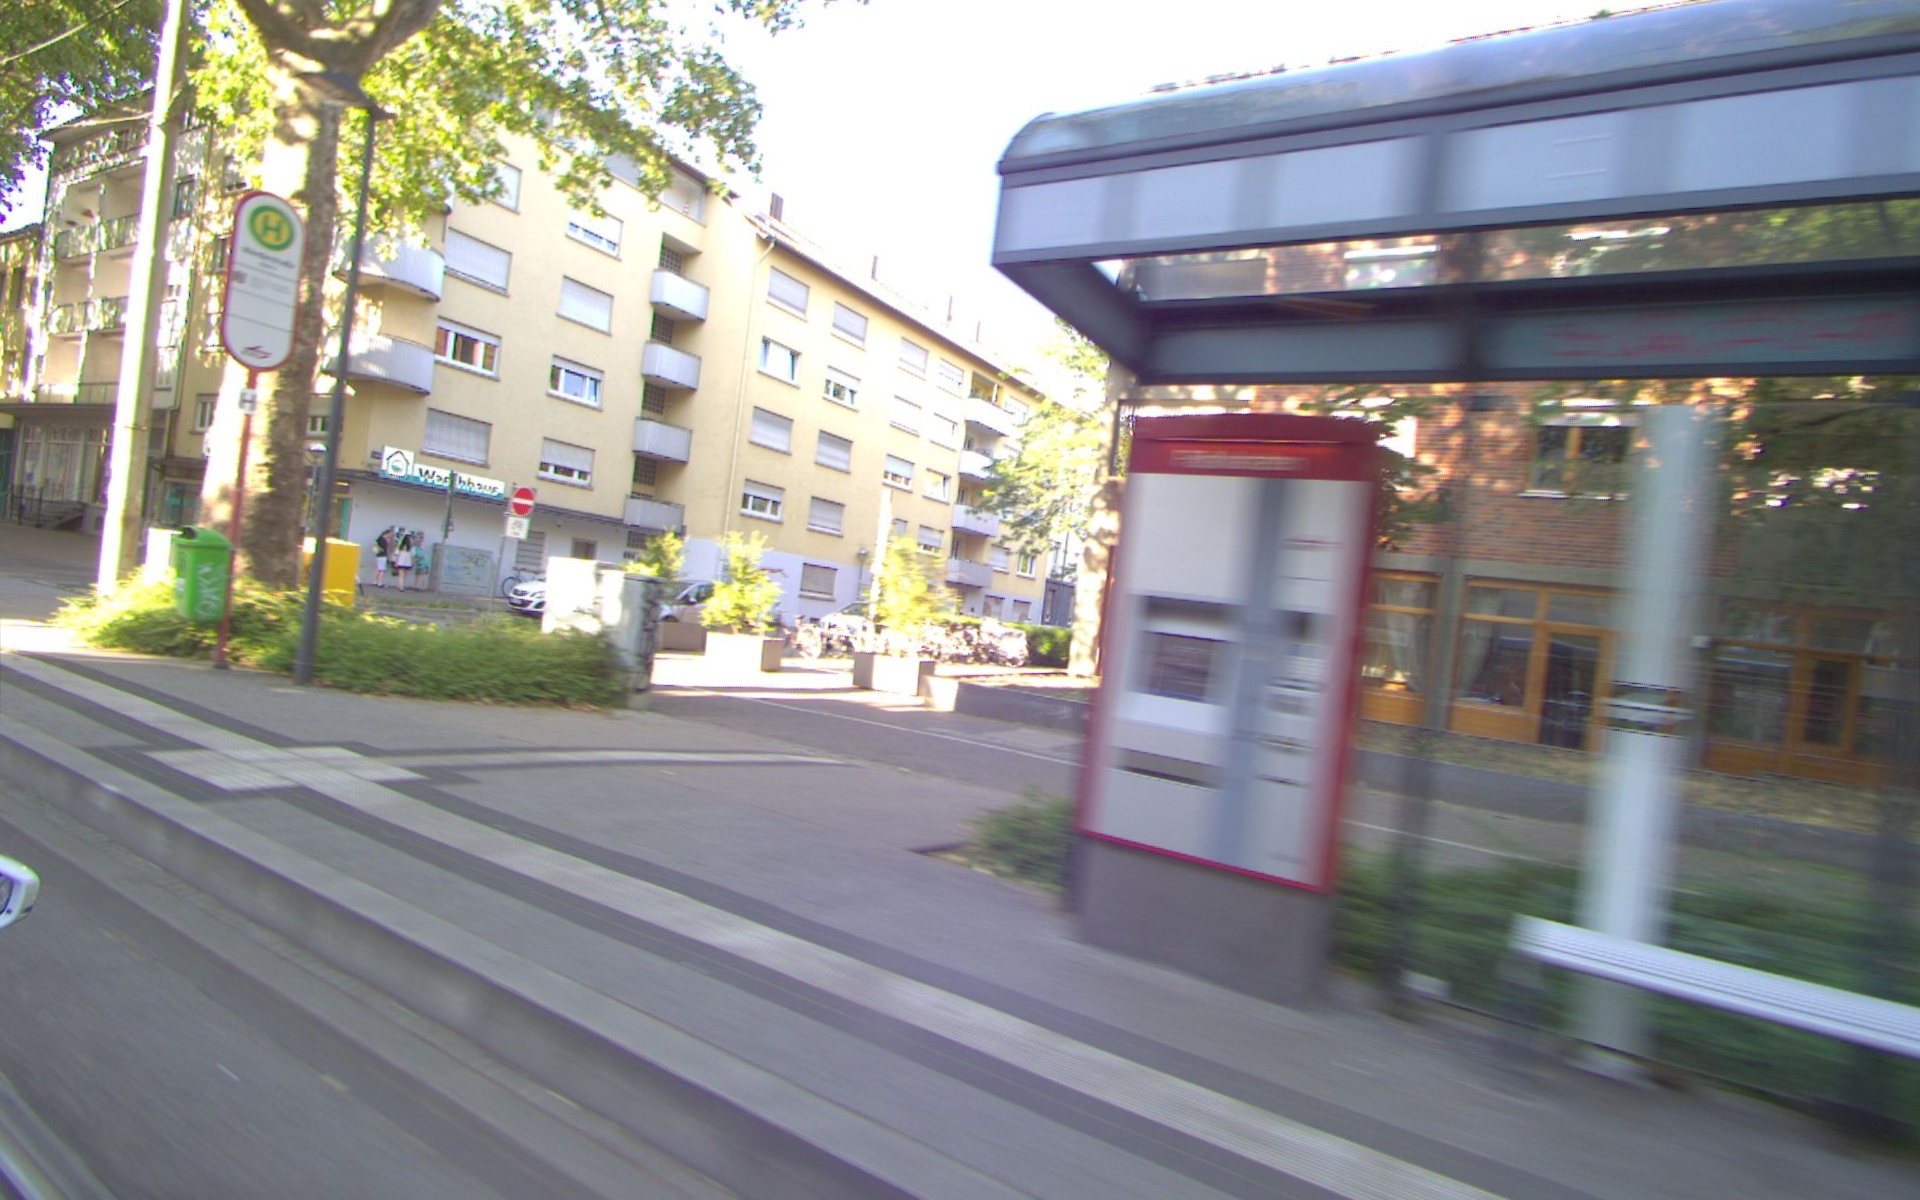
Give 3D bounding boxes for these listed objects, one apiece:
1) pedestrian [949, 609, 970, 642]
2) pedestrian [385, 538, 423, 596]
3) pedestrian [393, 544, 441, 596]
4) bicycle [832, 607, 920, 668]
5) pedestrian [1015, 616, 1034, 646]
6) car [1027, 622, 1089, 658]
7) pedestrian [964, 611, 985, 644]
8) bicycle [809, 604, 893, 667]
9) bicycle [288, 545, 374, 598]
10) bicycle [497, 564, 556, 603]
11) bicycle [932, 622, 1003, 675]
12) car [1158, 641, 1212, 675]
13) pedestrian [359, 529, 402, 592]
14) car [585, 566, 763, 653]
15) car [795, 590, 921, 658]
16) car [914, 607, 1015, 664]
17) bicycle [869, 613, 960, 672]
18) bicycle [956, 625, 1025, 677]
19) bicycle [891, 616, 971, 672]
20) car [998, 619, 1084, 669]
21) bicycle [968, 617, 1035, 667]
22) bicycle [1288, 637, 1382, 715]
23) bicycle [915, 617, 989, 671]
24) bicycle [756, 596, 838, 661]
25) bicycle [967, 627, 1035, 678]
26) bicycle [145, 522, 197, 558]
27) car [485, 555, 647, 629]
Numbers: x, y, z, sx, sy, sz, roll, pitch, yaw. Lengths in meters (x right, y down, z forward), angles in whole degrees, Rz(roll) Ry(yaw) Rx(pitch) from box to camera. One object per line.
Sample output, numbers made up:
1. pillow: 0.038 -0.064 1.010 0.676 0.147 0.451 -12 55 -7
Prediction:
1. pedestrian: -0.033 1.339 52.020 0.644 1.604 0.772 7 0 26
2. pedestrian: -15.855 -0.942 28.695 0.692 1.558 0.688 7 1 -18
3. pedestrian: -16.133 -0.883 29.893 0.755 1.432 0.841 7 0 23
4. bicycle: -1.948 0.859 23.136 1.950 1.172 0.636 7 2 34
5. pedestrian: 3.620 1.739 56.490 0.678 1.604 0.772 7 0 26
6. car: 5.579 2.292 57.155 1.835 1.571 3.867 10 1 31
7. pedestrian: 0.747 1.430 51.706 0.678 1.604 0.772 7 0 26
8. bicycle: -2.389 0.758 21.947 1.668 1.172 0.601 7 2 27
9. bicycle: -15.639 -0.691 25.081 0.731 1.171 1.797 6 1 10
10. bicycle: -14.490 -0.539 33.647 0.592 1.171 1.693 7 1 31
11. bicycle: 0.188 1.260 26.291 1.669 1.172 0.661 7 2 31
12. car: 13.385 3.460 59.673 1.835 1.713 3.867 7 0 31
13. pedestrian: -16.810 -1.137 29.189 0.649 1.703 0.703 7 1 4
14. car: -6.945 0.282 24.791 1.835 1.713 3.867 7 0 31
15. car: -3.118 0.795 31.506 1.835 1.713 3.867 7 0 31
16. car: 0.218 1.326 36.705 1.835 1.713 3.867 7 0 31
17. bicycle: -1.095 1.013 24.122 2.017 1.172 0.731 7 2 32
18. bicycle: 0.804 1.354 26.705 1.668 1.172 0.563 7 2 27
19. bicycle: -0.719 1.093 25.001 1.820 1.172 0.661 7 2 31
20. car: 3.380 1.839 41.349 1.835 1.713 3.867 7 0 31
21. bicycle: 1.161 1.158 27.976 1.666 1.172 0.564 6 2 21
22. bicycle: 6.282 1.285 16.792 1.921 1.171 0.565 5 2 -43
23. bicycle: -0.209 1.118 25.689 1.669 1.172 0.661 7 2 31
24. bicycle: -3.473 0.595 21.329 1.671 1.172 0.600 7 2 35
25. bicycle: 1.105 1.415 27.281 1.666 1.172 0.521 6 2 21
26. bicycle: -25.515 -1.941 32.530 1.749 1.010 0.571 7 2 27
27. car: -11.216 -0.183 28.874 1.835 1.571 3.867 10 1 31
